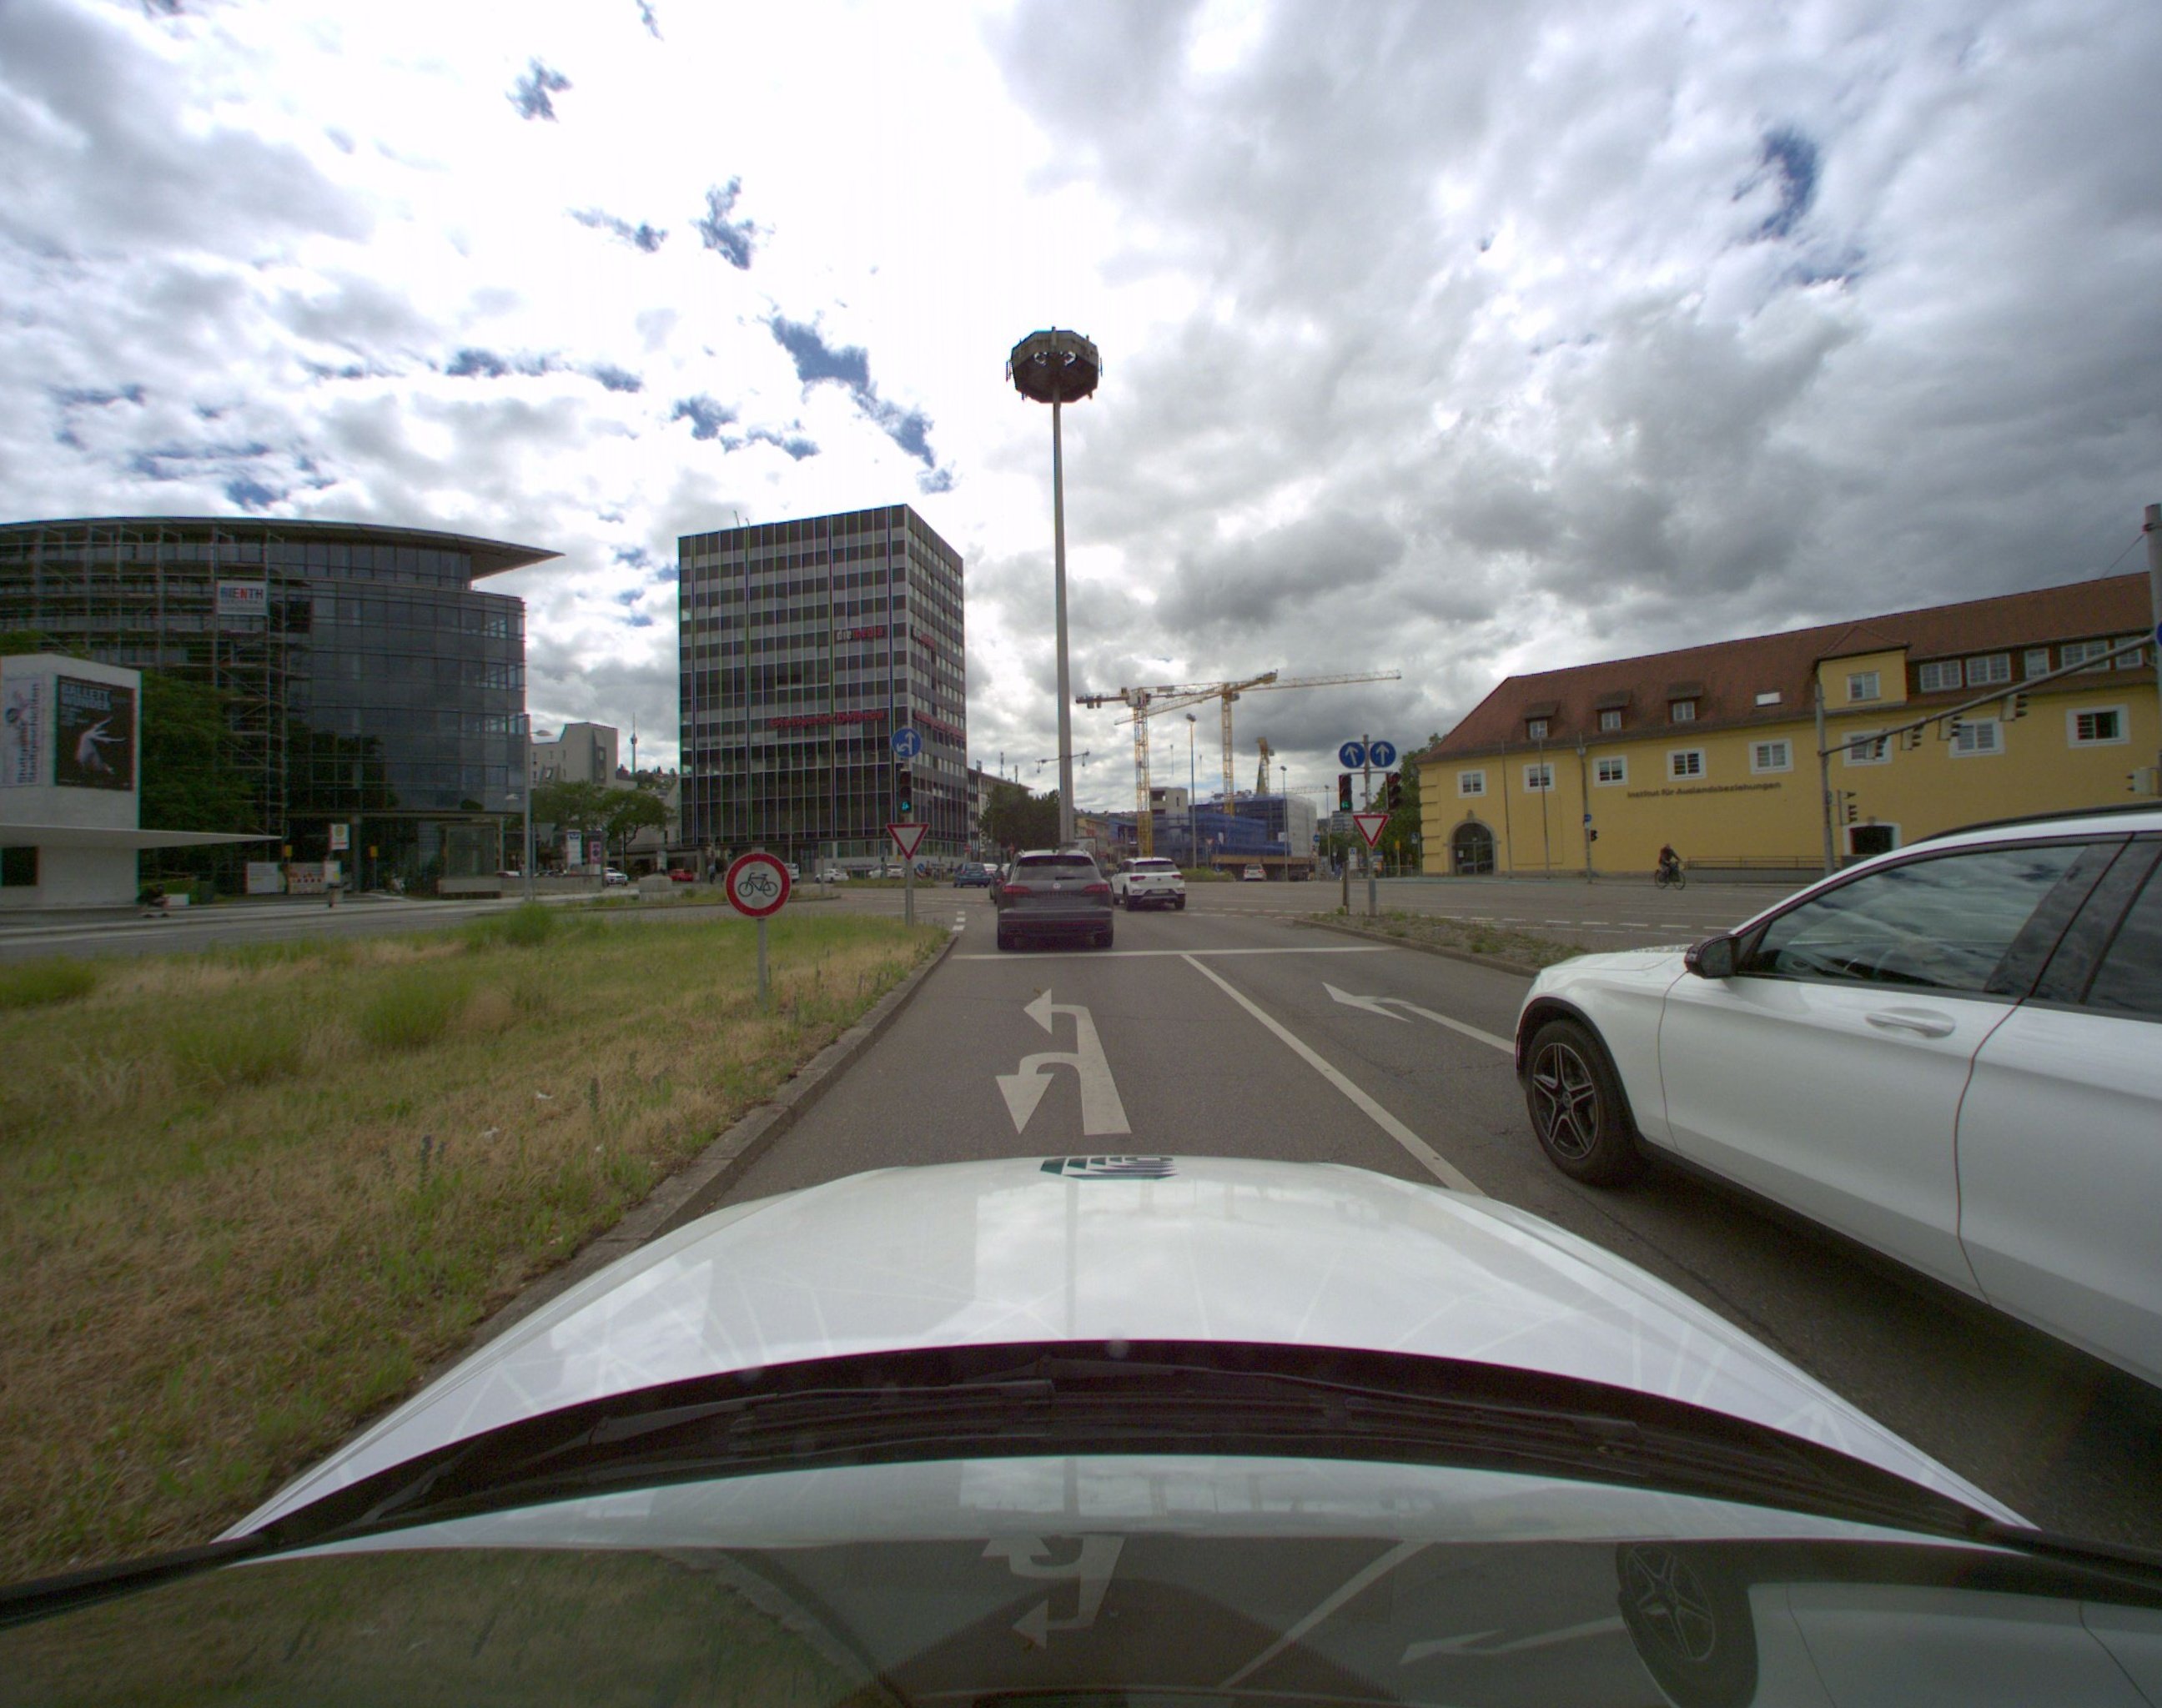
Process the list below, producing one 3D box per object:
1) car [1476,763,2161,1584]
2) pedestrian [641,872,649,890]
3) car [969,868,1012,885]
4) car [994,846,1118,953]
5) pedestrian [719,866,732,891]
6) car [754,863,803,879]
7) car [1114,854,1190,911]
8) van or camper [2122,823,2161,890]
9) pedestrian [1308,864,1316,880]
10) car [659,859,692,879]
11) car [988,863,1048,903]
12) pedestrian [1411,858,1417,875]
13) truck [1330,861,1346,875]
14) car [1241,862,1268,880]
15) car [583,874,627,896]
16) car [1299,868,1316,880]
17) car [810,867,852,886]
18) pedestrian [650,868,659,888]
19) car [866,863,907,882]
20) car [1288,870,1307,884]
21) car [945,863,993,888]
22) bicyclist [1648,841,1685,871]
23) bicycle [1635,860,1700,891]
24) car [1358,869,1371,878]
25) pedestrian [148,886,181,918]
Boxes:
[{"bbox_3d":[3.081,0.625,2.369,1.812,1.647,4.380,-1,0,1],"label":"car"},{"bbox_3d":[-35.014,2.187,65.462,0.539,1.396,0.648,0,-1,-31],"label":"pedestrian"},{"bbox_3d":[-6.612,1.609,58.986,1.680,1.139,4.032,-1,-1,-29],"label":"car"},{"bbox_3d":[-0.521,0.713,14.823,1.929,1.647,3.994,-1,0,-4],"label":"car"},{"bbox_3d":[-34.033,2.318,77.911,0.964,2.361,1.030,-1,-1,-31],"label":"pedestrian"},{"bbox_3d":[-30.071,1.646,80.915,4.551,1.502,2.266,-1,0,35],"label":"car"},{"bbox_3d":[2.122,0.812,25.314,1.889,1.585,3.797,-1,0,-2],"label":"car"},{"bbox_3d":[35.211,0.025,23.603,5.949,2.014,2.031,-2,-1,44],"label":"van or camper"},{"bbox_3d":[18.845,1.488,66.540,0.543,1.282,0.465,-1,-1,24],"label":"pedestrian"},{"bbox_3d":[-43.522,1.628,87.441,3.950,2.014,2.012,-1,0,44],"label":"car"},{"bbox_3d":[-2.411,1.025,30.388,1.793,1.356,4.055,-1,-1,-11],"label":"car"},{"bbox_3d":[31.075,1.189,75.981,0.537,1.597,0.746,-1,-1,24],"label":"pedestrian"},{"bbox_3d":[46.173,2.543,146.090,2.109,2.453,4.854,-1,0,24],"label":"truck"},{"bbox_3d":[15.729,1.530,73.535,1.788,1.502,4.001,-1,-1,21],"label":"car"},{"bbox_3d":[-40.586,2.619,69.475,3.413,1.794,1.813,-1,-1,31],"label":"car"},{"bbox_3d":[31.473,2.751,113.082,1.788,1.502,4.001,-1,0,21],"label":"car"},{"bbox_3d":[-24.873,2.214,81.030,3.949,1.610,1.913,1,6,36],"label":"car"},{"bbox_3d":[-34.405,1.909,65.639,0.626,1.593,0.585,0,-1,-32],"label":"pedestrian"},{"bbox_3d":[-16.097,1.482,67.408,1.829,1.496,3.862,-1,0,-38],"label":"car"},{"bbox_3d":[25.529,2.702,96.061,1.788,1.502,4.001,-1,0,21],"label":"car"},{"bbox_3d":[-6.717,1.261,48.567,1.801,1.356,4.038,-1,-1,-24],"label":"car"},{"bbox_3d":[22.823,0.076,31.761,0.919,1.159,0.726,0,-1,4],"label":"bicyclist"},{"bbox_3d":[22.829,0.806,31.763,0.919,1.159,2.468,0,0,4],"label":"bicycle"},{"bbox_3d":[65.063,4.520,187.034,1.984,2.014,4.005,-1,0,5],"label":"car"},{"bbox_3d":[-31.295,1.626,27.805,0.472,1.081,0.561,0,-1,10],"label":"pedestrian"}]
